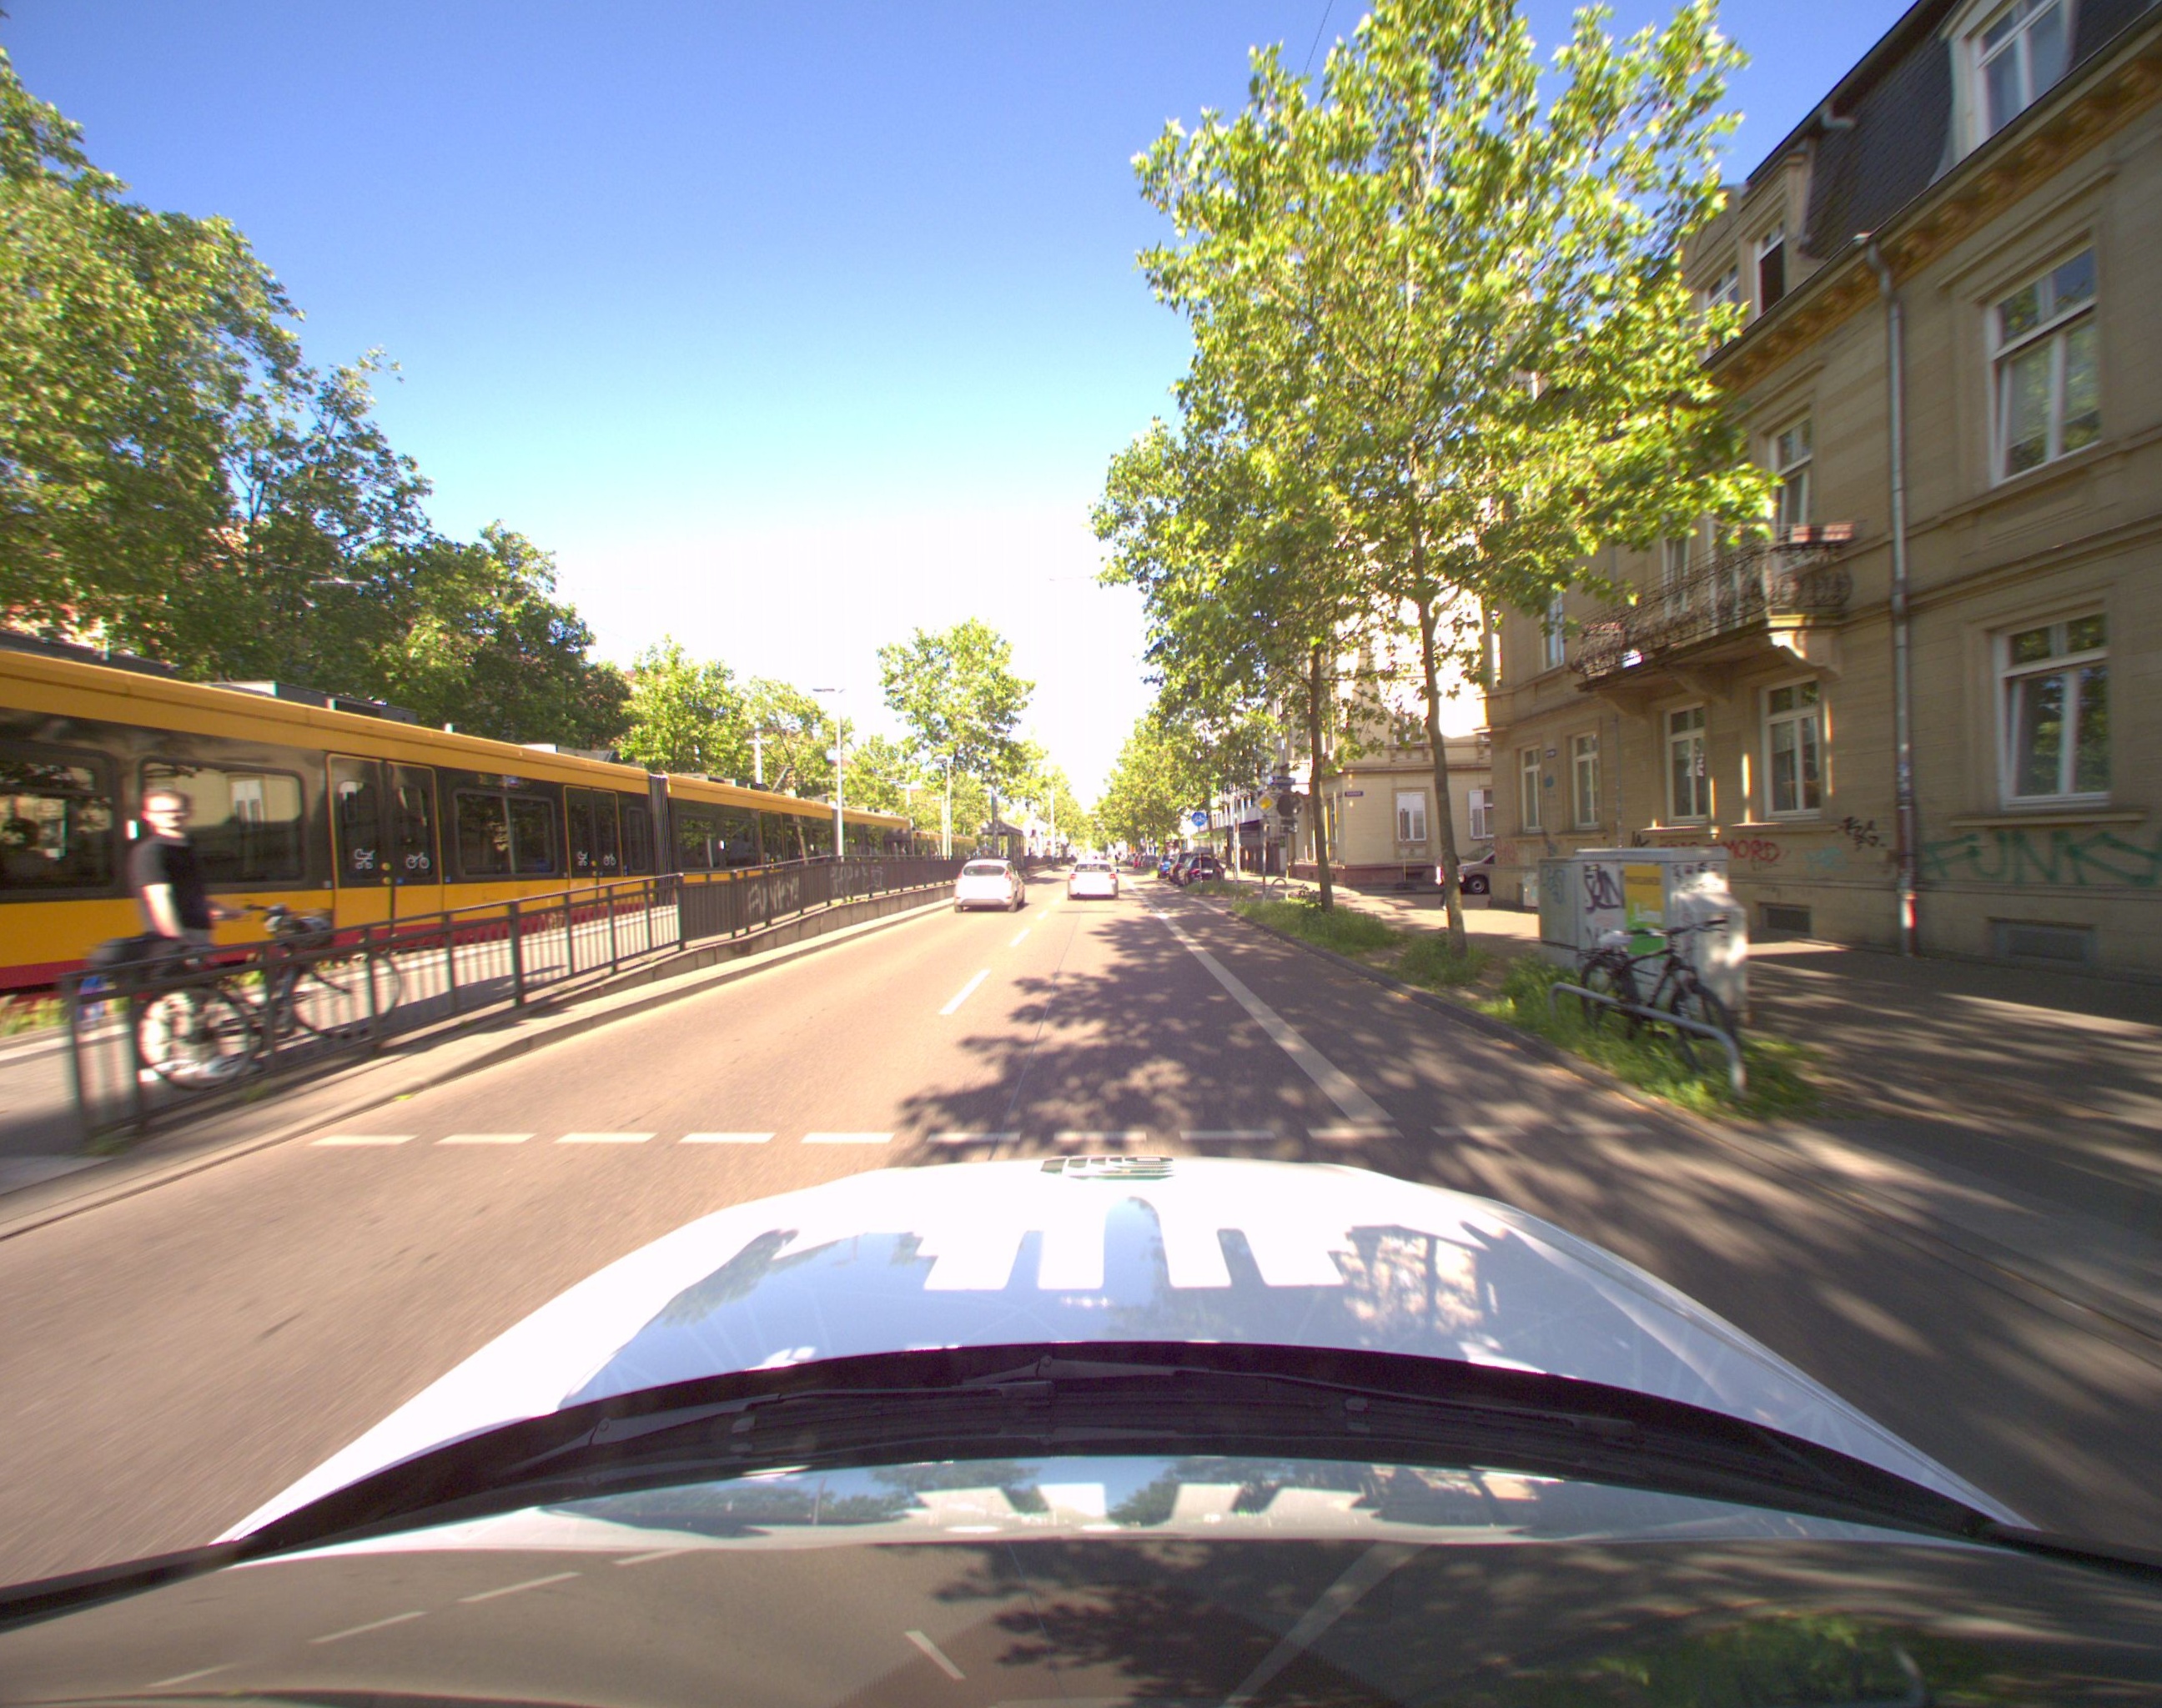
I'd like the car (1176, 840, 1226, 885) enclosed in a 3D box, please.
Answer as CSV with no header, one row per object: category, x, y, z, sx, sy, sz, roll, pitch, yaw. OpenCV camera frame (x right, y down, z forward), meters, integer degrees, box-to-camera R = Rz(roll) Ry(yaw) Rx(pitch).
car,5.549,0.341,38.179,1.748,1.964,4.739,-1,1,1

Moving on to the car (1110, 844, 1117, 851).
car,9.649,-2.078,244.243,1.986,2.013,4.002,-2,1,2

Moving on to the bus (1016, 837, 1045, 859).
bus,-8.960,-1.134,147.337,2.858,3.628,24.616,-1,1,2

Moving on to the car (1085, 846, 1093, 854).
car,2.168,-1.087,220.227,1.986,2.013,4.002,0,1,2

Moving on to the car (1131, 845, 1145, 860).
car,7.765,-0.215,110.620,1.718,1.880,4.002,0,0,2

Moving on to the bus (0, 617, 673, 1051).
bus,-9.894,-0.159,9.742,2.858,3.444,13.223,-2,1,2

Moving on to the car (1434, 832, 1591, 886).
car,15.359,0.159,29.187,4.561,1.772,1.924,-1,1,4

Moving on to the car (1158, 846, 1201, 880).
car,5.290,0.422,44.196,1.791,1.700,4.739,-2,1,1

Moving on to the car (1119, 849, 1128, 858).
car,9.717,-0.205,184.997,1.986,2.013,4.002,0,1,2

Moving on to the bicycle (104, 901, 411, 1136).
bicycle,-5.468,0.991,5.579,0.327,1.214,1.826,-2,0,-4

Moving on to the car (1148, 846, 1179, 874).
car,5.373,0.379,53.394,1.686,1.658,4.041,-2,1,1

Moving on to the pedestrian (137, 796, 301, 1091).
pedestrian,-5.890,0.577,5.596,0.450,1.902,0.583,-2,0,-6

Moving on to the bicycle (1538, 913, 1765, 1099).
bicycle,3.939,0.983,5.800,0.426,0.970,1.751,0,1,2

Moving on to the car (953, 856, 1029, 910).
car,-2.516,0.768,23.466,1.640,1.362,3.762,0,1,2

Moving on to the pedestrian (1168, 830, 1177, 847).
pedestrian,10.992,-1.830,97.475,0.960,2.013,0.939,-2,0,1

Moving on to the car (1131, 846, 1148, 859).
car,6.817,-0.155,94.890,1.799,1.520,4.002,0,0,2

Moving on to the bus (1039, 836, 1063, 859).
bus,-5.157,-1.169,142.300,2.739,3.625,18.857,-1,1,2

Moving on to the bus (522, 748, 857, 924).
bus,-9.519,-0.424,22.409,2.858,3.444,12.220,-2,1,2

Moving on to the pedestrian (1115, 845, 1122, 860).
pedestrian,5.068,-0.149,109.543,0.833,2.013,0.650,0,1,8

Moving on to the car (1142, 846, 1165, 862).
car,7.050,0.019,79.632,1.986,1.509,4.599,0,0,2

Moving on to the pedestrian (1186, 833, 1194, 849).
pedestrian,13.660,-1.651,102.015,0.785,2.013,0.891,-2,0,2

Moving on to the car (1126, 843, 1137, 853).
car,7.865,-0.972,126.825,1.694,1.534,3.718,0,1,2

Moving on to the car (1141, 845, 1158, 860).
car,7.134,-0.183,85.072,1.663,1.551,4.002,0,1,2

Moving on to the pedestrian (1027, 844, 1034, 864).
pedestrian,-4.986,0.018,81.074,0.636,1.954,0.814,0,1,2

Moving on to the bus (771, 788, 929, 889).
bus,-9.160,-0.609,34.218,2.858,3.444,11.616,-2,1,2

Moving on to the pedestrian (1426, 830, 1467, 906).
pedestrian,8.999,0.323,20.068,0.562,1.826,0.959,0,1,-2

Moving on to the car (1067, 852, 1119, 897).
car,0.428,0.678,29.362,1.756,1.432,4.001,0,1,1
